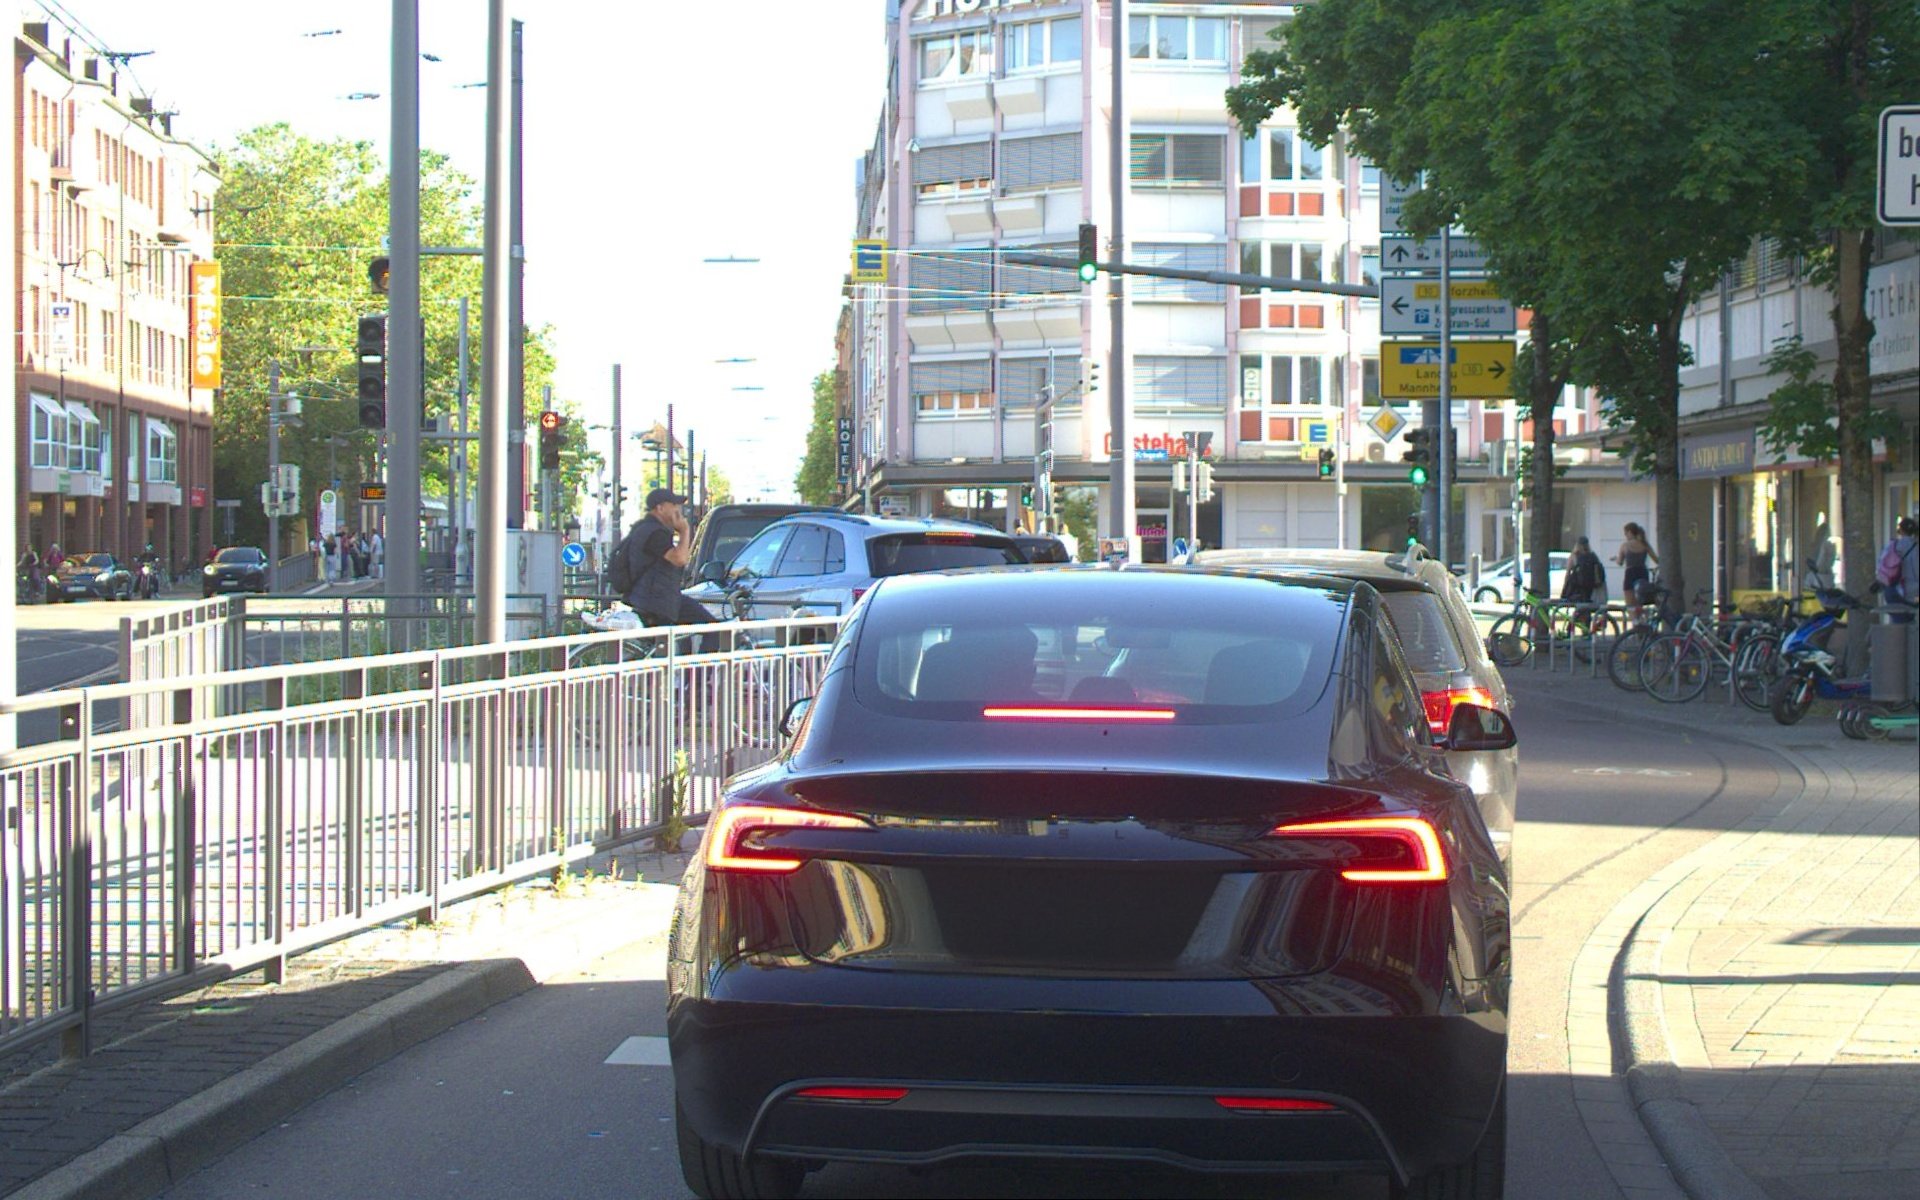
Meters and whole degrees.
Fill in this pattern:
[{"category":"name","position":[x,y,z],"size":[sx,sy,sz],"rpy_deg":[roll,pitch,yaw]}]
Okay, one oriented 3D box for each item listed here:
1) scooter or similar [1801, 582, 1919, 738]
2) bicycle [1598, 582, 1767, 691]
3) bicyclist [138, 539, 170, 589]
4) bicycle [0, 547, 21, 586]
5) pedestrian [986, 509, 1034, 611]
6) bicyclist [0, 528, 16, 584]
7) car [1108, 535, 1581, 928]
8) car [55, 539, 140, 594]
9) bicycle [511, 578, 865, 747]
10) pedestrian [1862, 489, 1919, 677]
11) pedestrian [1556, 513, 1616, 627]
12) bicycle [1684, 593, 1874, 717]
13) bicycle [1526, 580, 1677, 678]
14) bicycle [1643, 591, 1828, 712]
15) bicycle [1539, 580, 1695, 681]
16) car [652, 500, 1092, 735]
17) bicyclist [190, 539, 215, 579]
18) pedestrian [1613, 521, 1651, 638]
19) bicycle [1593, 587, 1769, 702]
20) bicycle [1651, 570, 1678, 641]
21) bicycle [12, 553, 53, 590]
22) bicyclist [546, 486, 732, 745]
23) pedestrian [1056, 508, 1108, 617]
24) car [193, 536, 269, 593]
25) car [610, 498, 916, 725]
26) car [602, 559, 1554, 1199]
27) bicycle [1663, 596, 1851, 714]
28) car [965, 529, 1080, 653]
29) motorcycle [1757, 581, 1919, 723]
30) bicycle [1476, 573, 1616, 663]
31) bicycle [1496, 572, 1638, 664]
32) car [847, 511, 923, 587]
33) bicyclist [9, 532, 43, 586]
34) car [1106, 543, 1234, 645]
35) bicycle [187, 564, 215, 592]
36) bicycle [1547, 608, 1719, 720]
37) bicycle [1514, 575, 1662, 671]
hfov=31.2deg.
[{"category":"scooter or similar","position":[7.560,0.472,27.182],"size":[1.644,1.211,0.644],"rpy_deg":[1,0,30]},{"category":"bicycle","position":[7.421,0.373,35.341],"size":[1.650,1.095,0.350],"rpy_deg":[1,0,1]},{"category":"bicyclist","position":[-25.015,-1.121,106.705],"size":[0.785,1.522,0.589],"rpy_deg":[1,0,4]},{"category":"bicycle","position":[-27.021,-0.937,96.669],"size":[0.529,1.085,2.284],"rpy_deg":[3,0,1]},{"category":"pedestrian","position":[0.999,-0.798,68.841],"size":[0.921,2.007,0.972],"rpy_deg":[1,0,-1]},{"category":"bicyclist","position":[-27.040,-1.235,96.671],"size":[0.784,1.558,0.746],"rpy_deg":[0,1,2]},{"category":"car","position":[1.646,0.454,14.946],"size":[1.751,1.449,3.999],"rpy_deg":[1,1,6]},{"category":"car","position":[-24.447,-0.952,97.580],"size":[1.710,1.521,4.037],"rpy_deg":[1,1,-5]},{"category":"bicycle","position":[-1.752,0.397,22.455],"size":[2.329,1.050,0.631],"rpy_deg":[0,1,-38]},{"category":"pedestrian","position":[10.167,-0.187,37.182],"size":[0.662,2.007,0.579],"rpy_deg":[1,0,2]},{"category":"pedestrian","position":[9.156,-0.440,50.306],"size":[0.699,1.656,0.777],"rpy_deg":[1,0,-1]},{"category":"bicycle","position":[7.386,0.495,31.020],"size":[1.649,1.095,0.350],"rpy_deg":[1,0,-10]},{"category":"bicycle","position":[7.332,0.328,39.320],"size":[1.650,1.095,0.350],"rpy_deg":[1,0,1]},{"category":"bicycle","position":[7.184,0.476,31.865],"size":[1.649,1.095,0.350],"rpy_deg":[1,0,-10]},{"category":"bicycle","position":[7.312,0.341,38.293],"size":[1.650,1.095,0.350],"rpy_deg":[1,0,1]},{"category":"car","position":[-0.774,0.100,26.475],"size":[1.883,1.656,4.159],"rpy_deg":[1,1,-25]},{"category":"bicyclist","position":[-29.595,-1.610,134.286],"size":[0.784,1.558,0.746],"rpy_deg":[1,0,2]},{"category":"pedestrian","position":[9.884,-0.303,50.576],"size":[0.526,1.704,0.403],"rpy_deg":[1,0,12]},{"category":"bicycle","position":[7.002,0.432,33.392],"size":[1.649,1.095,0.350],"rpy_deg":[1,0,-10]},{"category":"bicycle","position":[10.283,0.073,50.202],"size":[0.332,1.030,1.256],"rpy_deg":[1,0,9]},{"category":"bicycle","position":[-27.144,-0.832,100.607],"size":[0.529,1.085,2.284],"rpy_deg":[1,1,1]},{"category":"bicyclist","position":[-2.072,0.091,22.168],"size":[0.758,1.623,0.978],"rpy_deg":[0,1,-39]},{"category":"pedestrian","position":[2.289,-0.706,64.645],"size":[0.921,2.007,0.972],"rpy_deg":[1,0,-1]},{"category":"car","position":[-22.445,-1.099,105.990],"size":[1.697,1.725,3.707],"rpy_deg":[1,1,-3]},{"category":"car","position":[-1.939,0.076,32.584],"size":[1.993,2.007,4.001],"rpy_deg":[0,1,-17]},{"category":"car","position":[0.370,0.641,8.659],"size":[1.829,1.450,3.999],"rpy_deg":[1,1,4]},{"category":"bicycle","position":[7.289,0.503,31.442],"size":[1.649,1.057,0.350],"rpy_deg":[1,0,-10]},{"category":"car","position":[0.910,-0.150,51.852],"size":[1.598,1.772,3.981],"rpy_deg":[1,1,-1]},{"category":"motorcycle","position":[7.716,0.443,29.256],"size":[1.707,1.169,0.541],"rpy_deg":[1,0,-2]},{"category":"bicycle","position":[7.234,0.219,42.472],"size":[1.650,1.095,0.350],"rpy_deg":[1,0,1]},{"category":"bicycle","position":[7.301,0.210,41.378],"size":[1.650,1.095,0.350],"rpy_deg":[0,1,1]},{"category":"car","position":[-1.755,-1.198,81.498],"size":[1.719,1.745,3.754],"rpy_deg":[1,1,-1]},{"category":"bicyclist","position":[-27.146,-1.198,99.937],"size":[0.784,1.558,0.746],"rpy_deg":[0,1,2]},{"category":"car","position":[3.428,-0.117,56.694],"size":[1.820,1.609,3.827],"rpy_deg":[1,1,0]},{"category":"bicycle","position":[-29.615,-0.849,134.135],"size":[0.529,1.085,2.224],"rpy_deg":[1,1,1]},{"category":"bicycle","position":[6.701,0.637,34.215],"size":[1.649,1.095,0.350],"rpy_deg":[1,0,-10]},{"category":"bicycle","position":[7.365,0.268,40.333],"size":[1.650,1.095,0.350],"rpy_deg":[1,0,1]}]
